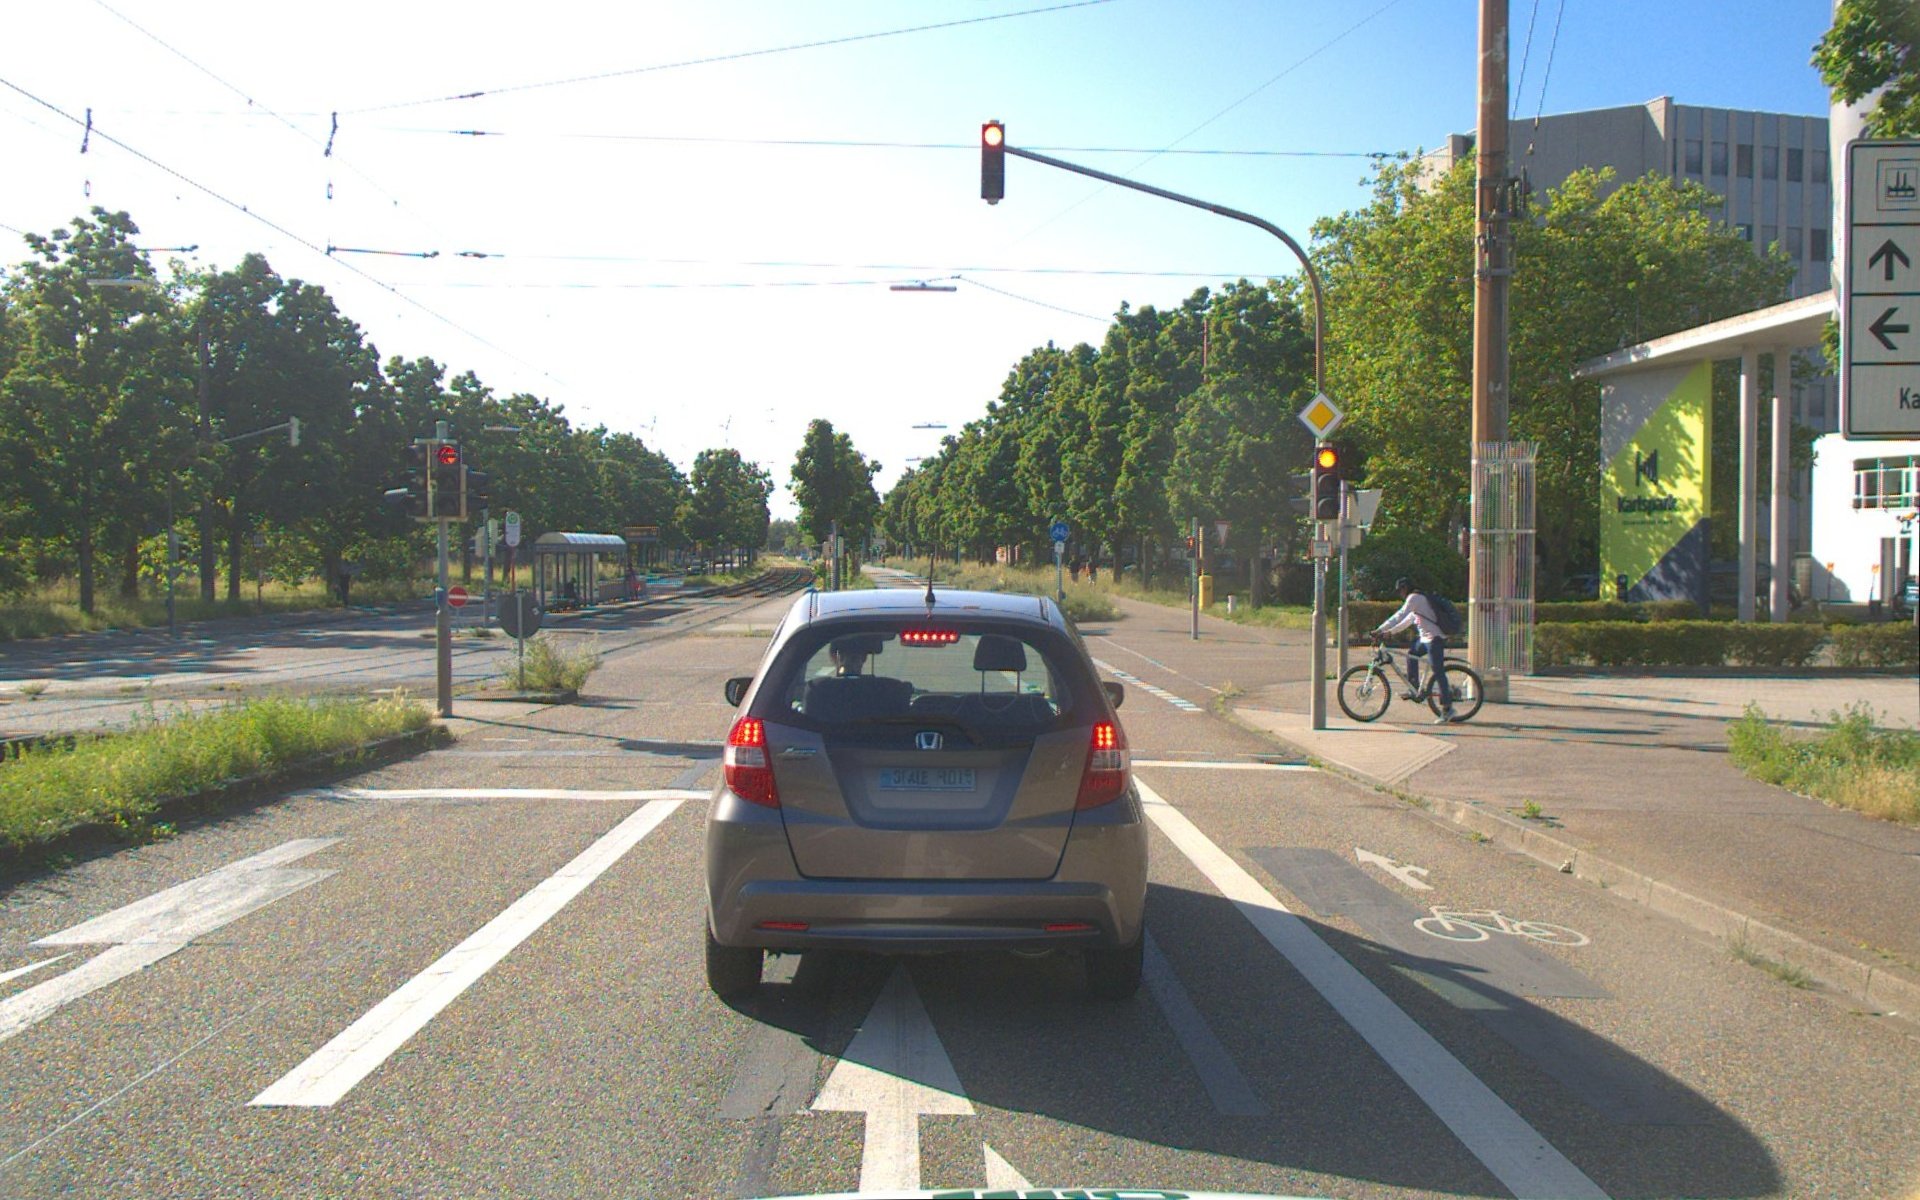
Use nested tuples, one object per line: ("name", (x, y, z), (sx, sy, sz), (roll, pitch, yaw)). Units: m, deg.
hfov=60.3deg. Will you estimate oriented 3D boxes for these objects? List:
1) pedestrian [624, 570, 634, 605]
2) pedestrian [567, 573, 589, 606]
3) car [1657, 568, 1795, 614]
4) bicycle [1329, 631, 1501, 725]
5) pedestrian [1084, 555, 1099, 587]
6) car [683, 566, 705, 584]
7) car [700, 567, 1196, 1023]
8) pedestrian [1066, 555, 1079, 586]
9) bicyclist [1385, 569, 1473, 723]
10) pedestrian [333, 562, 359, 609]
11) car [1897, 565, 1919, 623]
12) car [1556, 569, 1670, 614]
("pedestrian", (-16.006, -0.592, 79.956), (0.493, 1.705, 0.387), (0, 0, -12))
("pedestrian", (-15.116, -0.413, 65.401), (0.706, 1.267, 0.710), (-1, 1, -3))
("car", (28.097, -0.318, 60.701), (4.459, 1.658, 1.870), (0, 0, -14))
("bicycle", (5.363, 0.914, 19.608), (1.879, 1.015, 0.765), (1, 0, 10))
("pedestrian", (6.901, -1.512, 86.873), (0.664, 1.638, 0.720), (1, 0, -3))
("car", (-26.132, -2.448, 162.536), (1.731, 1.768, 3.998), (0, 0, -3))
("car", (-0.045, 0.655, 7.650), (1.672, 1.535, 4.000), (1, 0, 0))
("pedestrian", (5.883, -1.563, 86.829), (0.556, 1.624, 0.665), (1, 0, -5))
("bicyclist", (5.542, 0.535, 19.586), (0.890, 1.775, 0.765), (-1, 0, 10))
("pedestrian", (-27.067, -0.627, 72.916), (0.823, 2.049, 0.863), (0, 0, -3))
("car", (31.050, -0.164, 50.556), (3.915, 1.750, 1.895), (0, 1, -10))
("car", (26.716, -0.345, 67.702), (3.919, 1.788, 1.993), (0, 0, -14))
